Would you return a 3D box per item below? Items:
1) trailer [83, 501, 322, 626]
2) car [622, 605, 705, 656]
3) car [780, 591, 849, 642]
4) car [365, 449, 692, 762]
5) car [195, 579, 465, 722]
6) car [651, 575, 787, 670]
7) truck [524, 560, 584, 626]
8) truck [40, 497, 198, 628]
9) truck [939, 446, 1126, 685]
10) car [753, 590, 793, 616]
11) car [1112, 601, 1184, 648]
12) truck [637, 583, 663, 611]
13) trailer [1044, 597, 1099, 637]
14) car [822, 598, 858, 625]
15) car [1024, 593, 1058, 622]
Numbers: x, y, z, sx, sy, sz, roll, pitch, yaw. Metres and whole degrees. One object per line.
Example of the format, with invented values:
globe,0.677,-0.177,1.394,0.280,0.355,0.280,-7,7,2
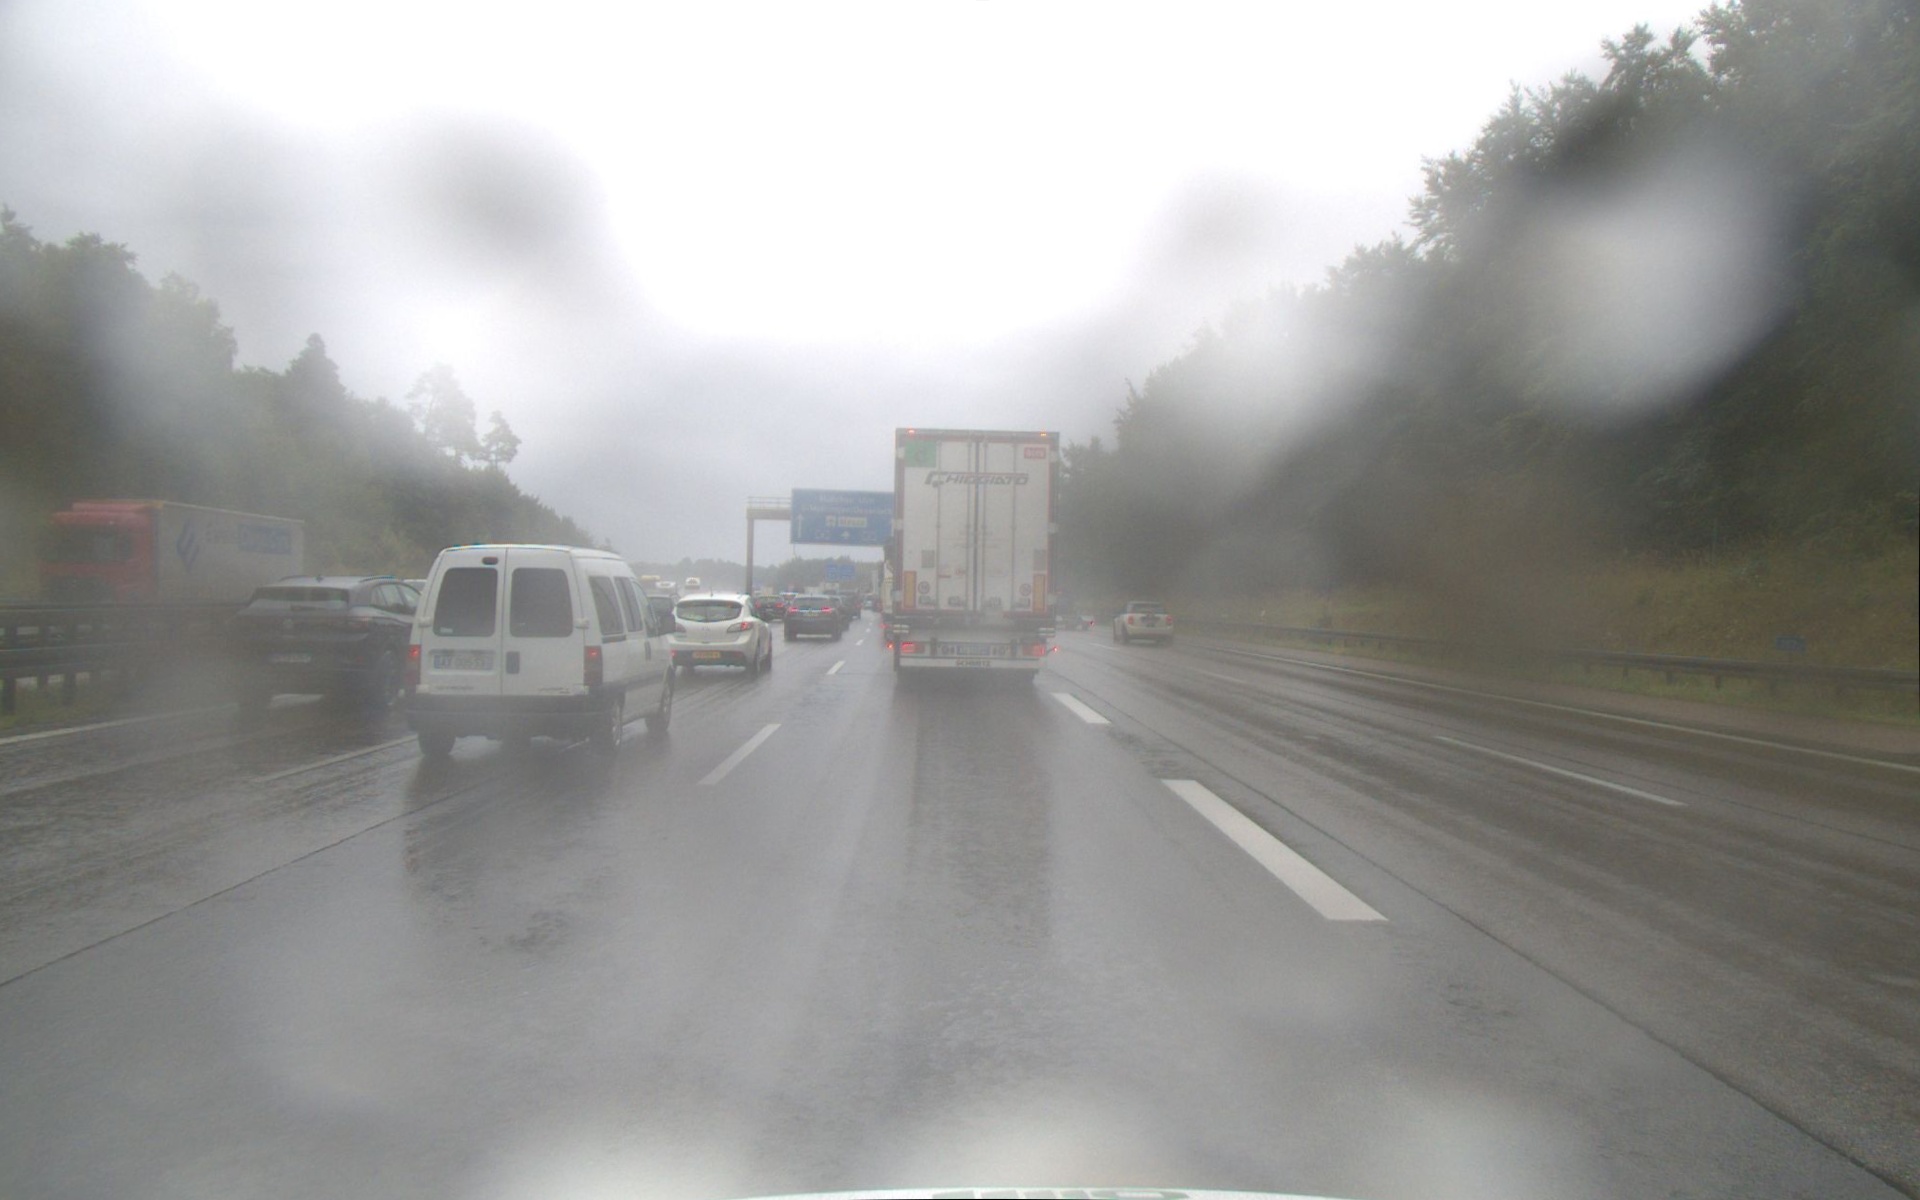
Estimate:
trailer,-27.287,-1.196,60.687,2.664,4.023,13.956,-1,0,-1
car,-8.813,0.877,49.493,1.808,1.354,4.465,1,1,-2
car,-4.840,0.518,55.390,1.807,1.619,4.467,1,1,1
car,-4.048,0.027,16.494,2.169,2.618,5.012,1,1,-3
car,-7.923,0.562,21.281,1.808,1.619,4.465,1,1,-1
car,-4.404,0.375,30.790,1.807,1.619,4.073,1,1,1
truck,-25.565,-0.435,104.401,2.329,4.023,6.535,0,0,-1
truck,-27.123,-1.179,53.583,2.649,4.023,4.890,-1,0,-1
truck,1.156,-0.517,31.016,2.813,3.624,11.302,1,0,0
car,-10.253,0.161,90.832,1.808,1.354,4.465,1,1,-2
car,6.282,0.791,55.645,1.755,1.431,4.225,1,0,-3
truck,-41.273,-0.419,220.222,2.471,3.544,11.704,1,0,-6
trailer,5.297,0.792,79.284,2.198,1.744,5.081,1,1,-1
car,-6.652,0.627,91.789,1.808,1.354,4.465,1,1,-2
car,4.809,0.419,97.993,1.948,1.611,4.769,1,1,2
